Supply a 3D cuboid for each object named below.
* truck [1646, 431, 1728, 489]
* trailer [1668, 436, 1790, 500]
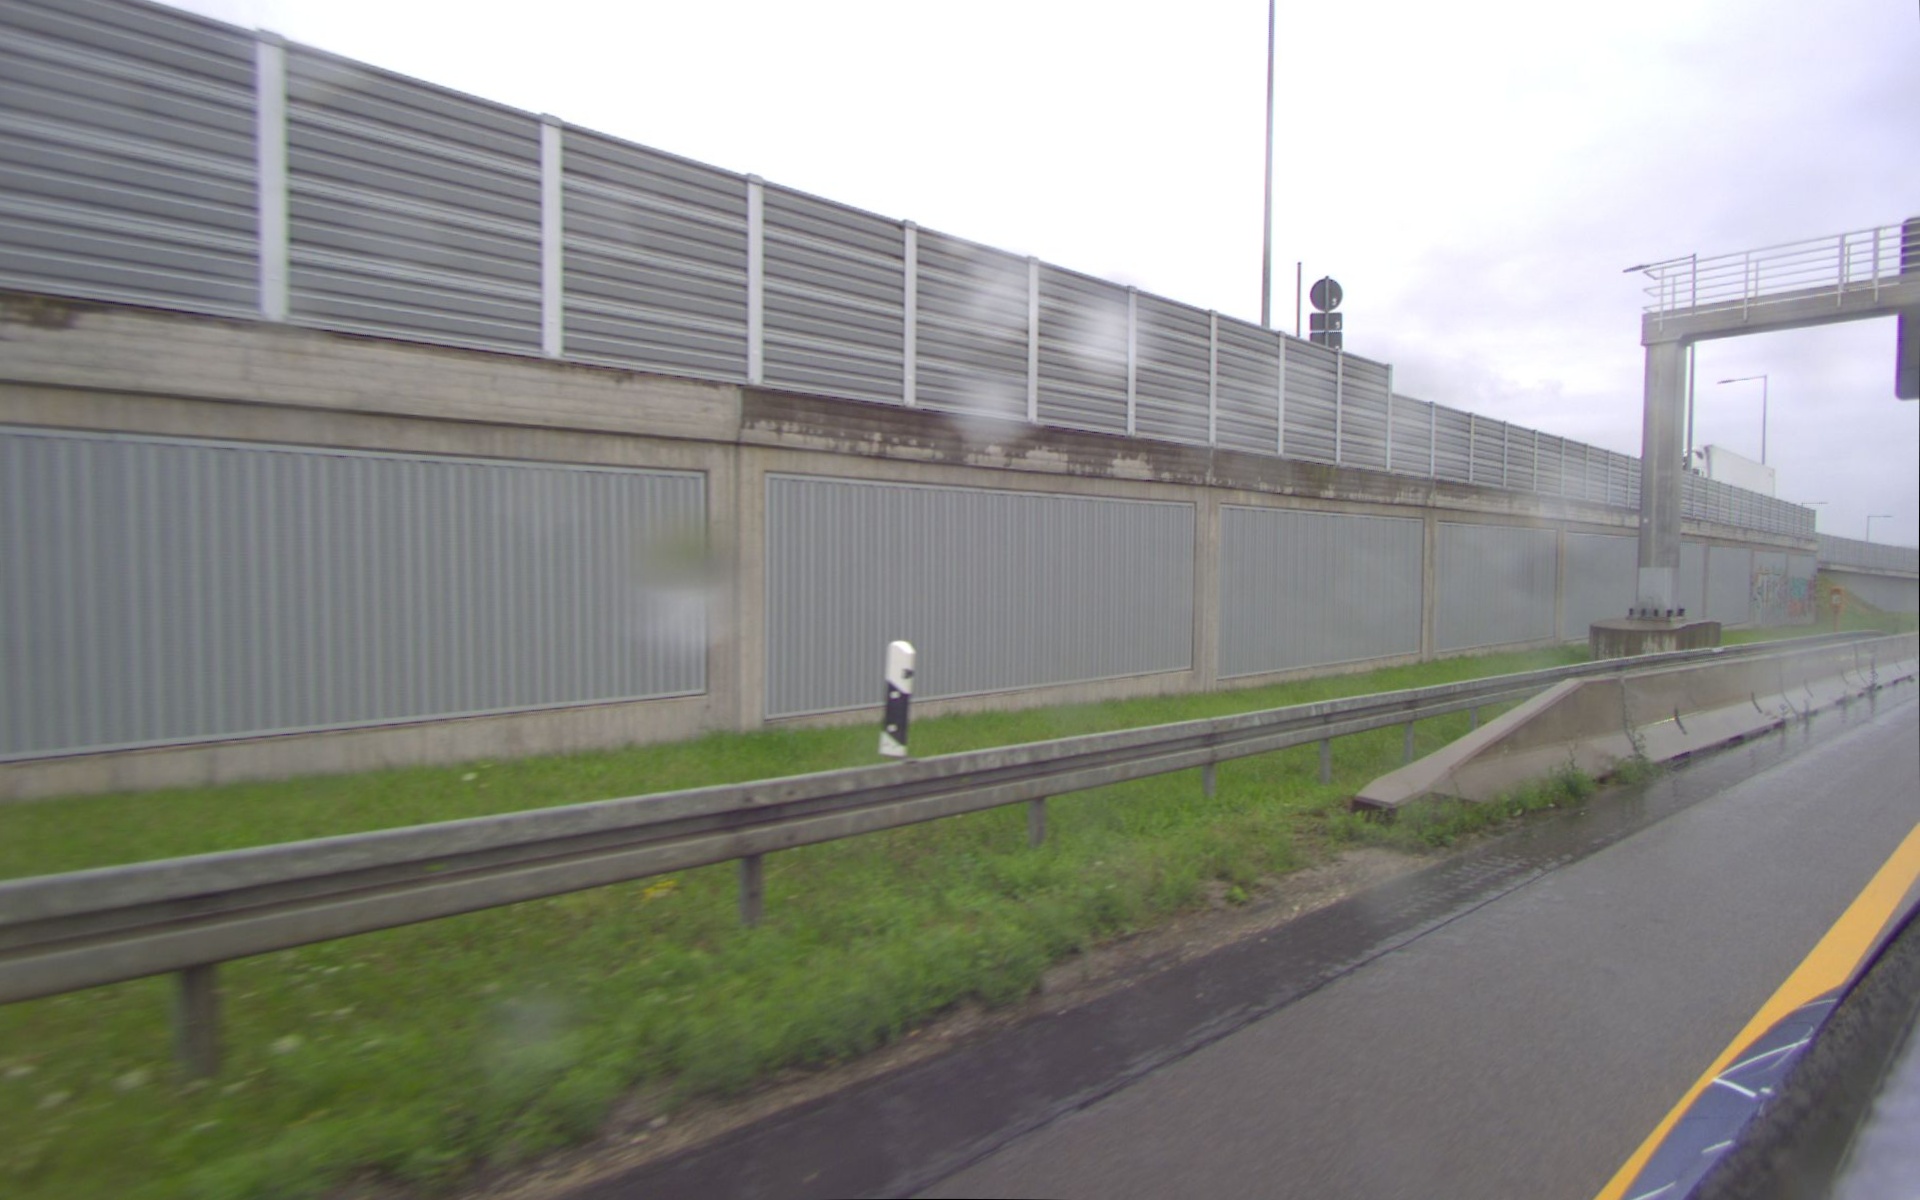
[{"bbox_3d":[31.242,-5.941,43.464,3.988,2.039,1.997,-2,1,-41],"label":"truck"},{"bbox_3d":[37.309,-6.210,48.814,13.530,2.132,1.997,-2,1,-41],"label":"trailer"}]
